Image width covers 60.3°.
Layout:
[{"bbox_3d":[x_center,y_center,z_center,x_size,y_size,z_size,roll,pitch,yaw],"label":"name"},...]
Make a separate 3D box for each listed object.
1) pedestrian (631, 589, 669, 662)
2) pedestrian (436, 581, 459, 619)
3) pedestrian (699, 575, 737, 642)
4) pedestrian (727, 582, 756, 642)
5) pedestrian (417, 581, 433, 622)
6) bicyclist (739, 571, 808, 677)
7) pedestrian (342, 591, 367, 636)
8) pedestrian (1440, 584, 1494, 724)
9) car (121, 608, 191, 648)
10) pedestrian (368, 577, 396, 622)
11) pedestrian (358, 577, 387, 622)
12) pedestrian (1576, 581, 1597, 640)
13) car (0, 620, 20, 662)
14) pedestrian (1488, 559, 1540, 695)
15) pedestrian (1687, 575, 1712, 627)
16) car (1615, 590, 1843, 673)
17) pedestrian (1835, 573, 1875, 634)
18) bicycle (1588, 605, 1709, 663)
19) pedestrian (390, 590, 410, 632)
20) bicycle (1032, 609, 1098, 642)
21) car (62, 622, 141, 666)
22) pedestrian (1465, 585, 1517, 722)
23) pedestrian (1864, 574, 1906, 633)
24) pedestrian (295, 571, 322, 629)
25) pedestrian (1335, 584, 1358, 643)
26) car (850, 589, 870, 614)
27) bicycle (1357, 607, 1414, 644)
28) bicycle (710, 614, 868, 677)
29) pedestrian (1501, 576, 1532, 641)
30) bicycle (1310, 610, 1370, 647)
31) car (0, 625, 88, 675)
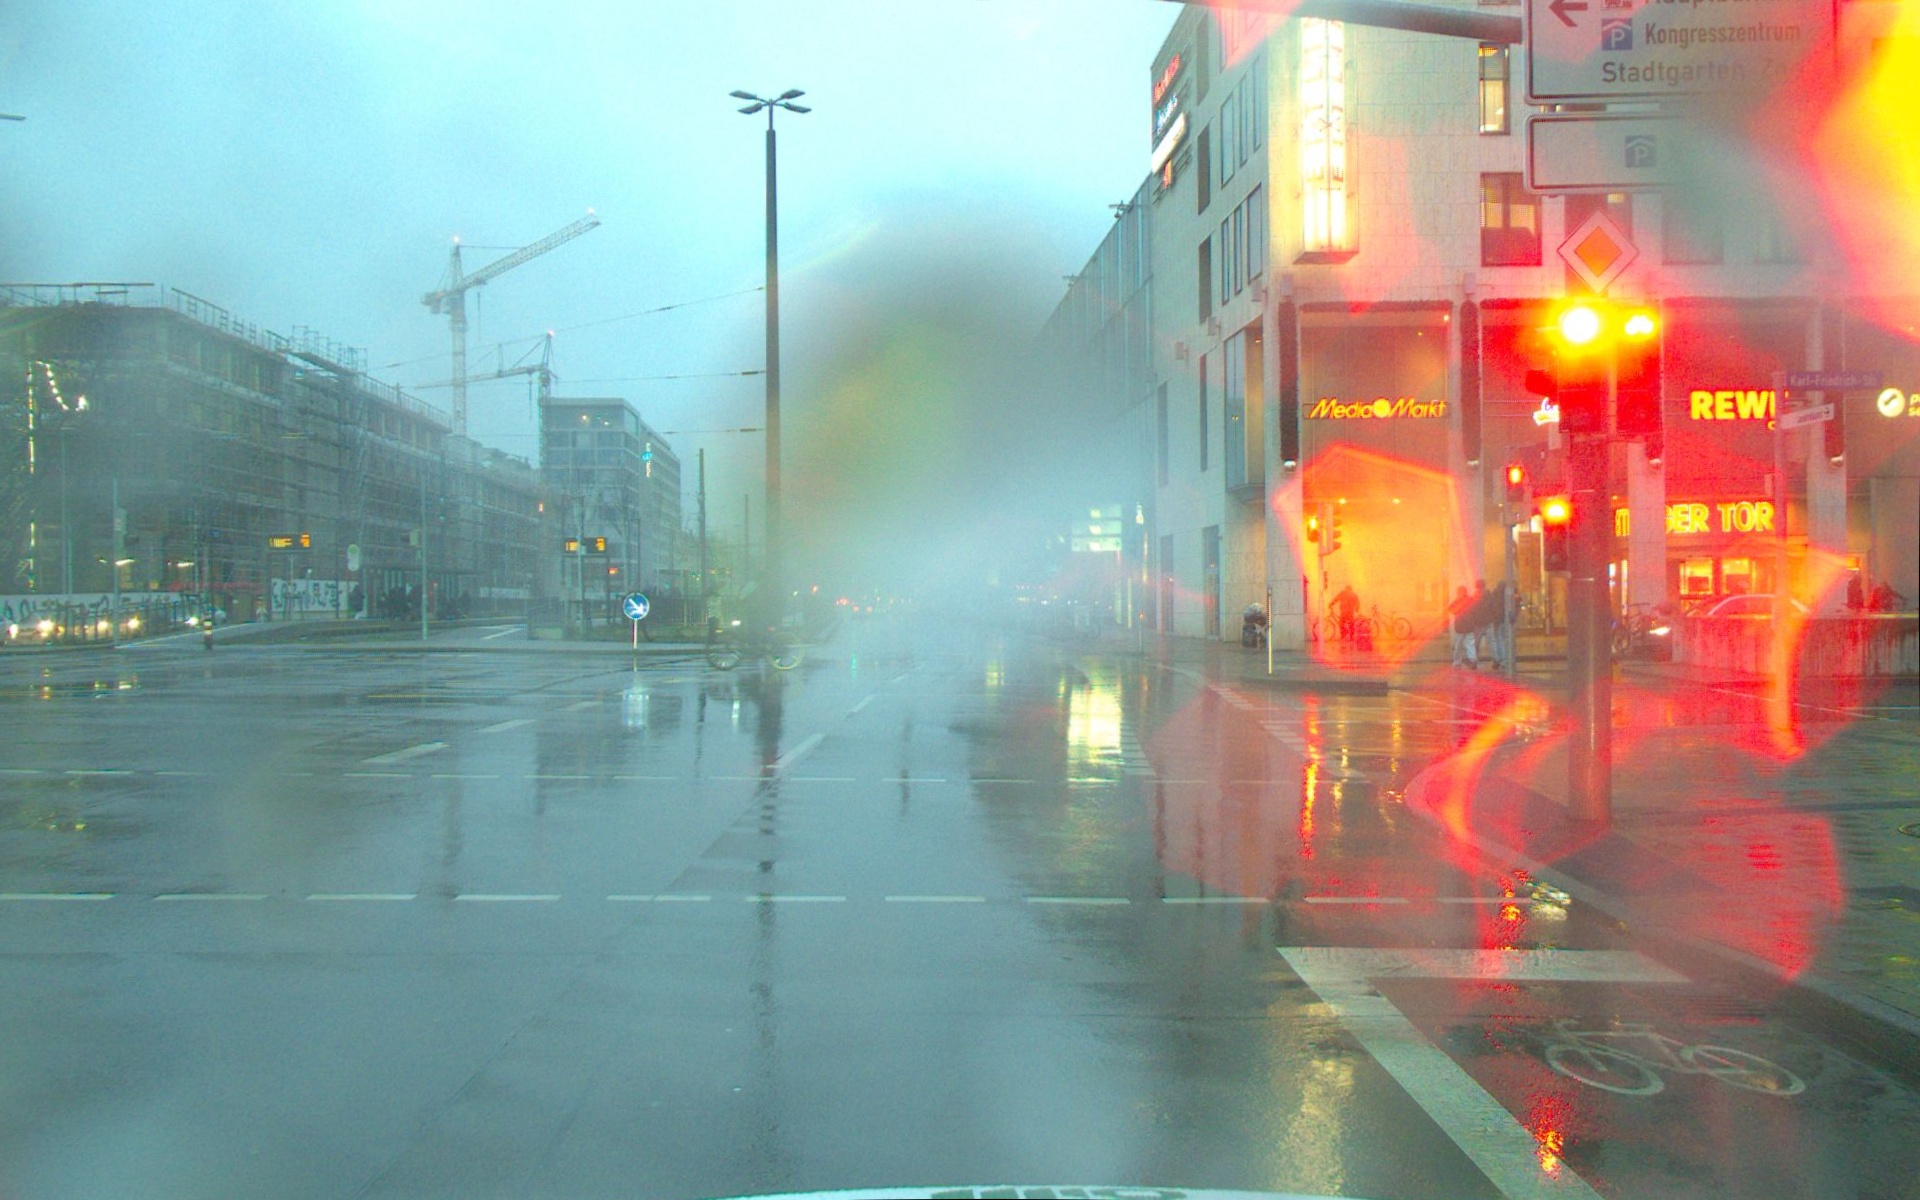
[{"bbox_3d":[-8.874,0.726,47.299,0.771,2.049,0.724,0,-1,41],"label":"pedestrian"},{"bbox_3d":[-27.907,0.012,90.116,0.923,2.049,1.093,1,-1,-3],"label":"pedestrian"},{"bbox_3d":[-6.786,0.245,46.345,0.813,1.863,0.777,1,-1,-31],"label":"pedestrian"},{"bbox_3d":[-6.324,0.356,47.895,0.601,1.715,0.575,0,-1,41],"label":"pedestrian"},{"bbox_3d":[-26.074,0.072,80.618,0.559,2.002,0.664,2,-1,-7],"label":"pedestrian"},{"bbox_3d":[-3.417,0.436,30.281,1.137,1.904,0.742,1,-1,-15],"label":"bicyclist"},{"bbox_3d":[-26.022,0.586,71.142,0.750,1.931,0.762,1,-2,-1],"label":"pedestrian"},{"bbox_3d":[9.171,0.961,29.928,0.700,2.484,0.758,1,-1,-1],"label":"pedestrian"},{"bbox_3d":[-38.289,1.293,78.846,1.957,1.822,3.990,1,0,-10],"label":"car"},{"bbox_3d":[-27.110,-0.028,77.545,0.923,2.049,1.093,1,-1,-3],"label":"pedestrian"},{"bbox_3d":[-26.919,-0.032,75.837,0.923,2.049,1.093,1,-1,-3],"label":"pedestrian"},{"bbox_3d":[18.327,0.310,48.385,0.476,1.692,0.457,-1,-1,30],"label":"pedestrian"},{"bbox_3d":[-36.406,1.527,60.544,2.038,1.557,4.604,-1,0,-10],"label":"car"},{"bbox_3d":[10.327,0.499,30.853,0.679,2.491,0.791,1,-1,-1],"label":"pedestrian"},{"bbox_3d":[25.180,0.046,56.333,0.721,1.748,0.738,-1,-1,27],"label":"pedestrian"},{"bbox_3d":[16.240,0.654,35.073,3.905,1.646,2.000,1,0,0],"label":"car"},{"bbox_3d":[25.627,0.096,47.365,0.726,1.713,0.782,1,-1,5],"label":"pedestrian"},{"bbox_3d":[17.202,0.841,41.360,2.659,1.383,0.957,-1,-1,-4],"label":"bicycle"},{"bbox_3d":[-25.240,0.493,74.522,0.684,1.913,0.553,1,-1,-2],"label":"pedestrian"},{"bbox_3d":[3.913,0.935,61.589,2.393,1.174,0.674,-1,-1,-2],"label":"bicycle"},{"bbox_3d":[-37.975,1.940,73.296,1.957,1.822,3.990,1,0,-10],"label":"car"},{"bbox_3d":[9.778,0.974,30.461,0.675,2.484,0.758,1,-1,-1],"label":"pedestrian"},{"bbox_3d":[26.872,0.103,48.049,0.875,1.714,0.528,-1,-1,-1],"label":"pedestrian"},{"bbox_3d":[-26.907,-0.004,68.303,0.750,2.364,0.762,1,-2,-1],"label":"pedestrian"},{"bbox_3d":[11.666,0.411,49.933,0.587,1.775,0.525,1,-1,7],"label":"pedestrian"},{"bbox_3d":[-8.211,0.137,135.981,1.546,2.049,3.169,-1,0,-3],"label":"car"},{"bbox_3d":[13.122,0.782,51.006,1.614,1.088,0.524,1,-1,-5],"label":"bicycle"},{"bbox_3d":[-3.137,0.836,30.351,2.809,1.118,0.742,1,0,-15],"label":"bicycle"},{"bbox_3d":[17.911,0.267,53.238,0.828,2.049,0.698,-1,0,8],"label":"pedestrian"},{"bbox_3d":[11.593,0.858,50.491,1.729,1.088,0.525,1,-1,7],"label":"bicycle"},{"bbox_3d":[-37.027,1.988,66.884,1.830,1.860,3.993,1,0,-8],"label":"car"}]
